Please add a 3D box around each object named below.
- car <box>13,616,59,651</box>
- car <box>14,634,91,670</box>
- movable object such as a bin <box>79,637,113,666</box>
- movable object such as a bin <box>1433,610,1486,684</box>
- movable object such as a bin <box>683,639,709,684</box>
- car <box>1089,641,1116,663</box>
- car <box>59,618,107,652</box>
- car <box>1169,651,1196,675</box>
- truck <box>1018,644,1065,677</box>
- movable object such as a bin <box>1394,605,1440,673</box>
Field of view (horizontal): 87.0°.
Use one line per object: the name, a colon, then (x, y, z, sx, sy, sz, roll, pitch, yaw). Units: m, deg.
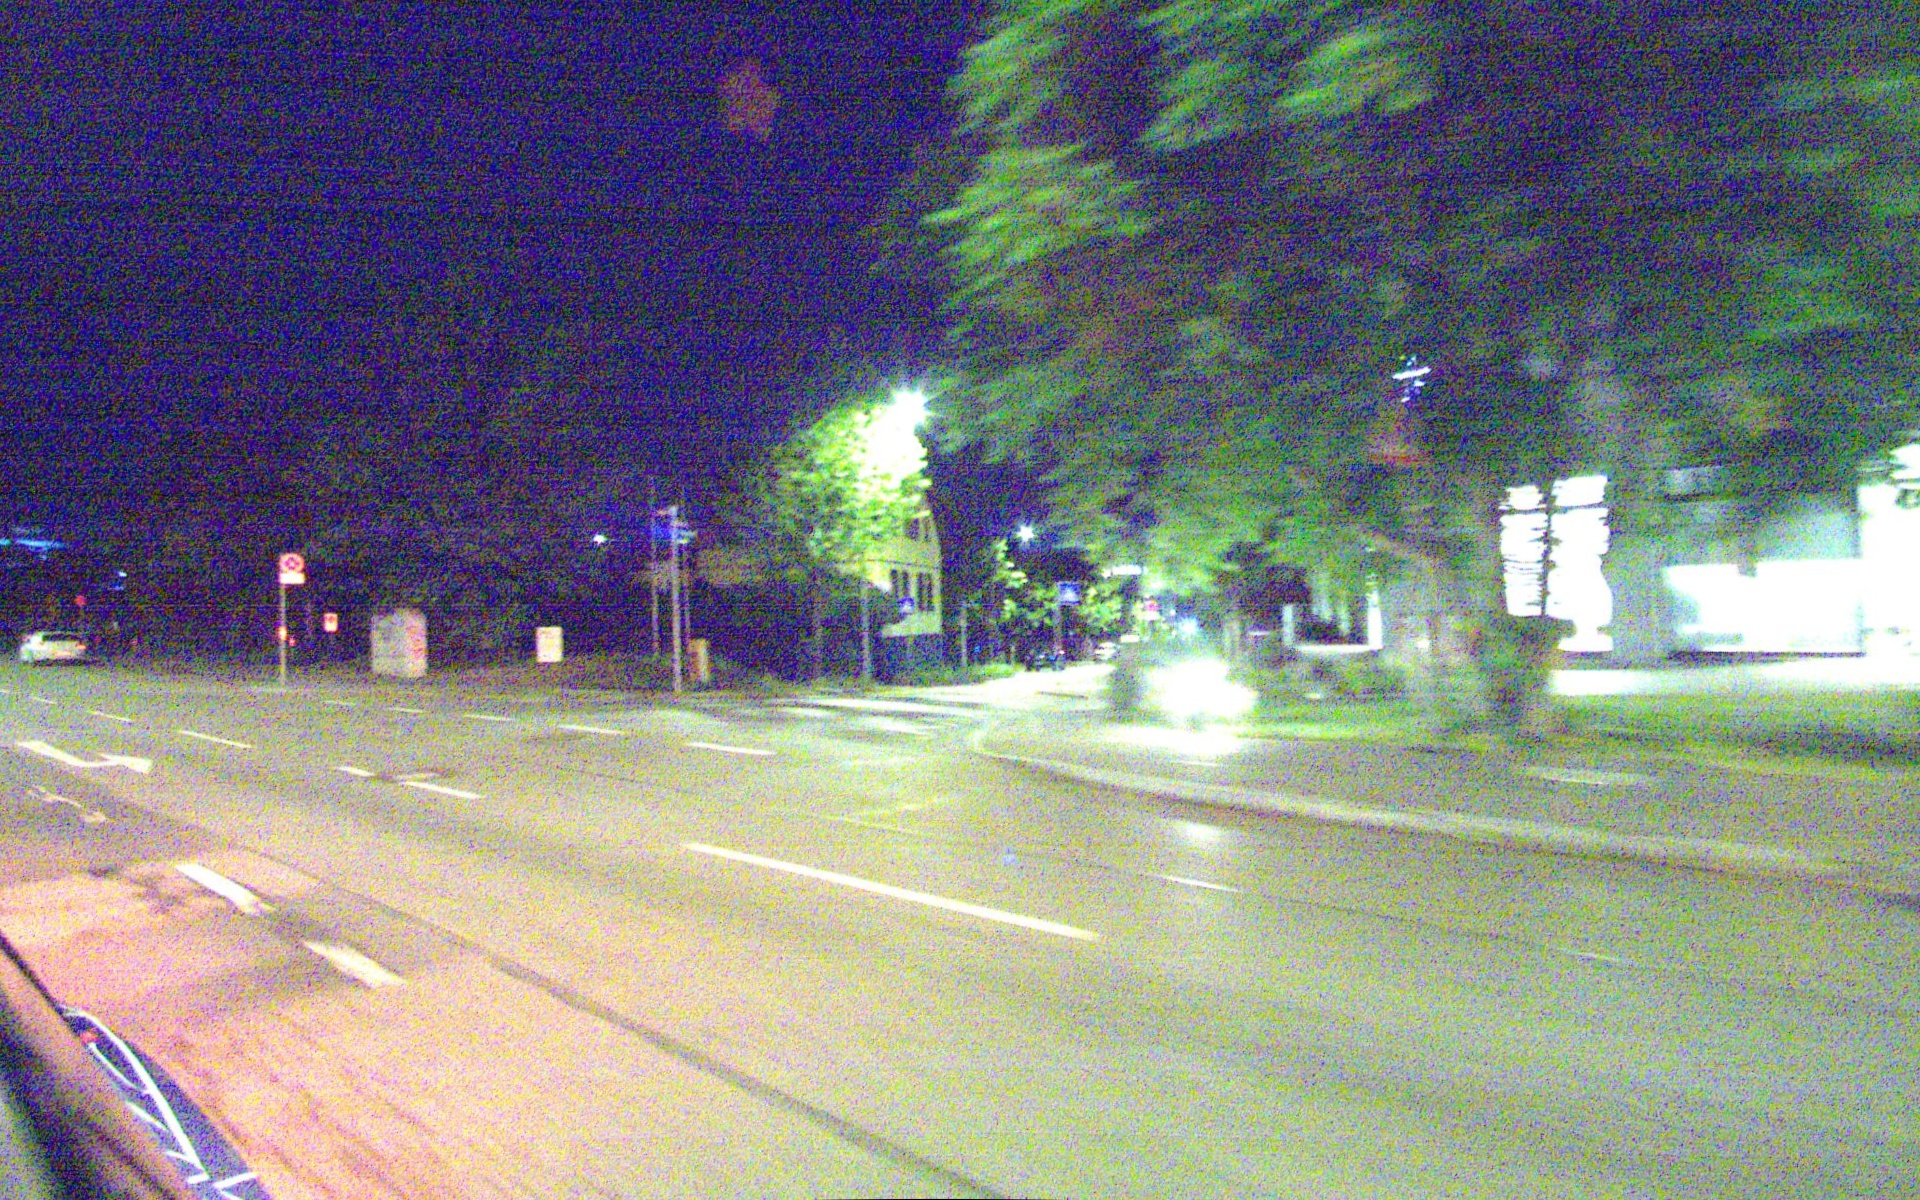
car: (-64.355, 2.328, 70.492, 4.968, 2.339, 1.971, -2, -4, 44)
car: (-38.297, 2.157, 42.667, 4.335, 1.414, 1.891, -2, -3, 41)
movable object such as a bin: (-45.859, 2.740, 53.722, 1.064, 1.507, 1.153, -2, -2, 37)
movable object such as a bin: (10.118, 0.947, 20.503, 0.809, 1.463, 0.435, -4, -4, 44)
movable object such as a bin: (-7.766, 1.806, 29.803, 0.561, 1.317, 0.620, 1, -3, 2)
car: (11.815, 4.307, 83.867, 1.820, 1.725, 3.897, -3, -3, 13)
car: (-63.183, 2.521, 72.847, 4.625, 2.339, 2.183, -2, -3, 44)
car: (16.560, 4.663, 75.308, 1.860, 1.654, 3.983, -1, -2, 13)
truck: (4.896, 3.547, 60.147, 1.982, 1.807, 3.979, 2, -2, 16)
movable object such as a bin: (9.578, 0.821, 21.210, 0.732, 1.381, 0.352, -6, -6, 42)
